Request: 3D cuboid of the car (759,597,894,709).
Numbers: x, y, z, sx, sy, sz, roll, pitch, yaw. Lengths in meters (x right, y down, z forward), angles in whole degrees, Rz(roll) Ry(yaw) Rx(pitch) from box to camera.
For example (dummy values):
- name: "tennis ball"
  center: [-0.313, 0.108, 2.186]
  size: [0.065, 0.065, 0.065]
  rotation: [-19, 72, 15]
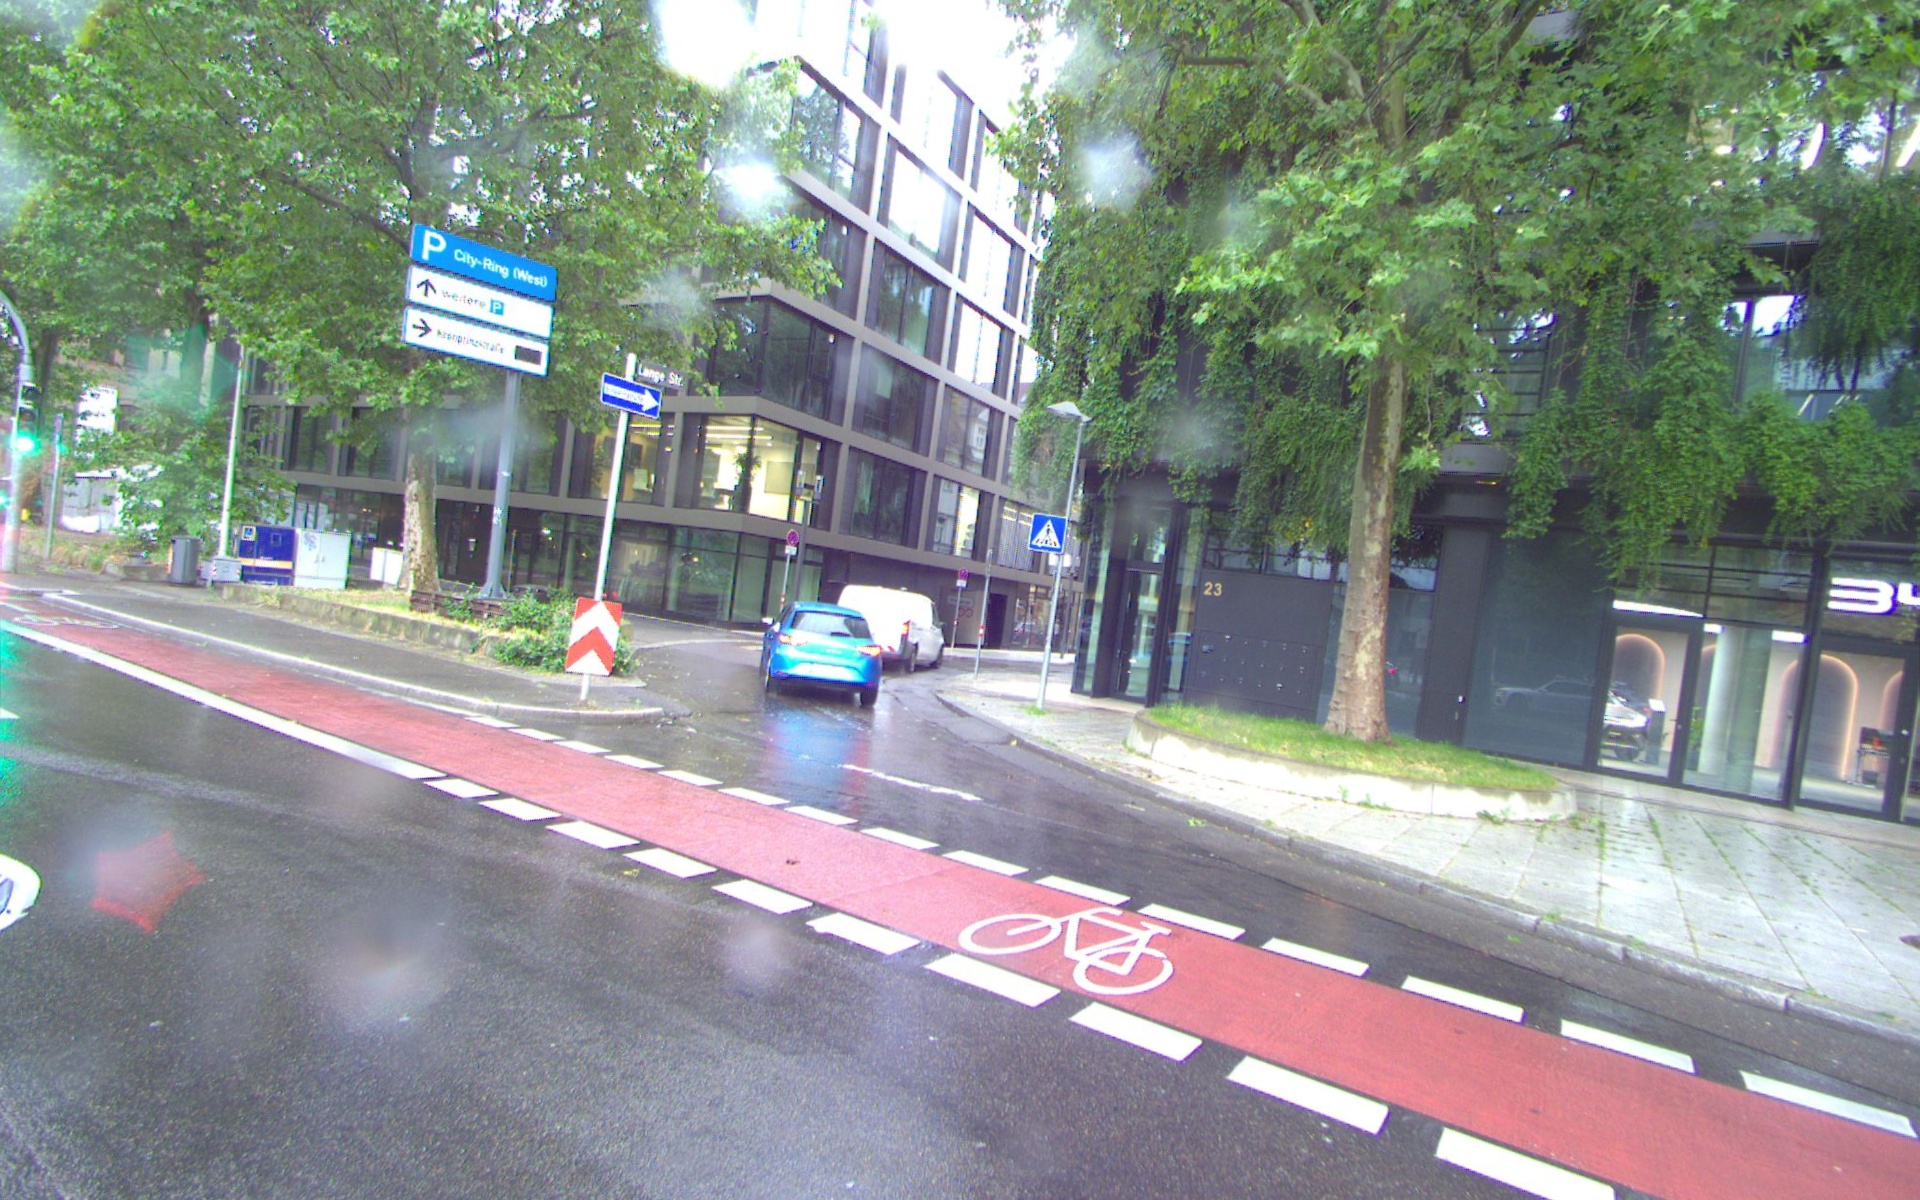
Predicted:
- name: "car"
  center: [-2.322, 0.774, 16.588]
  size: [1.772, 1.453, 4.054]
  rotation: [6, -1, -12]

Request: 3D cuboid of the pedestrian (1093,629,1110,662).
- name: "pedestrian"
  center: [7.209, 2.303, 51.093]
  size: [0.537, 1.579, 0.503]
  rotation: [6, -1, 29]

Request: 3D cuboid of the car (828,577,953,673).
- name: "car"
  center: [-1.593, 0.641, 25.183]
  size: [1.889, 1.969, 4.967]
  rotation: [6, -1, 9]

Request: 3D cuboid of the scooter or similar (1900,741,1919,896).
- name: "scooter or similar"
  center: [8.498, 1.881, 8.105]
  size: [0.528, 1.297, 1.184]
  rotation: [7, -1, -8]
